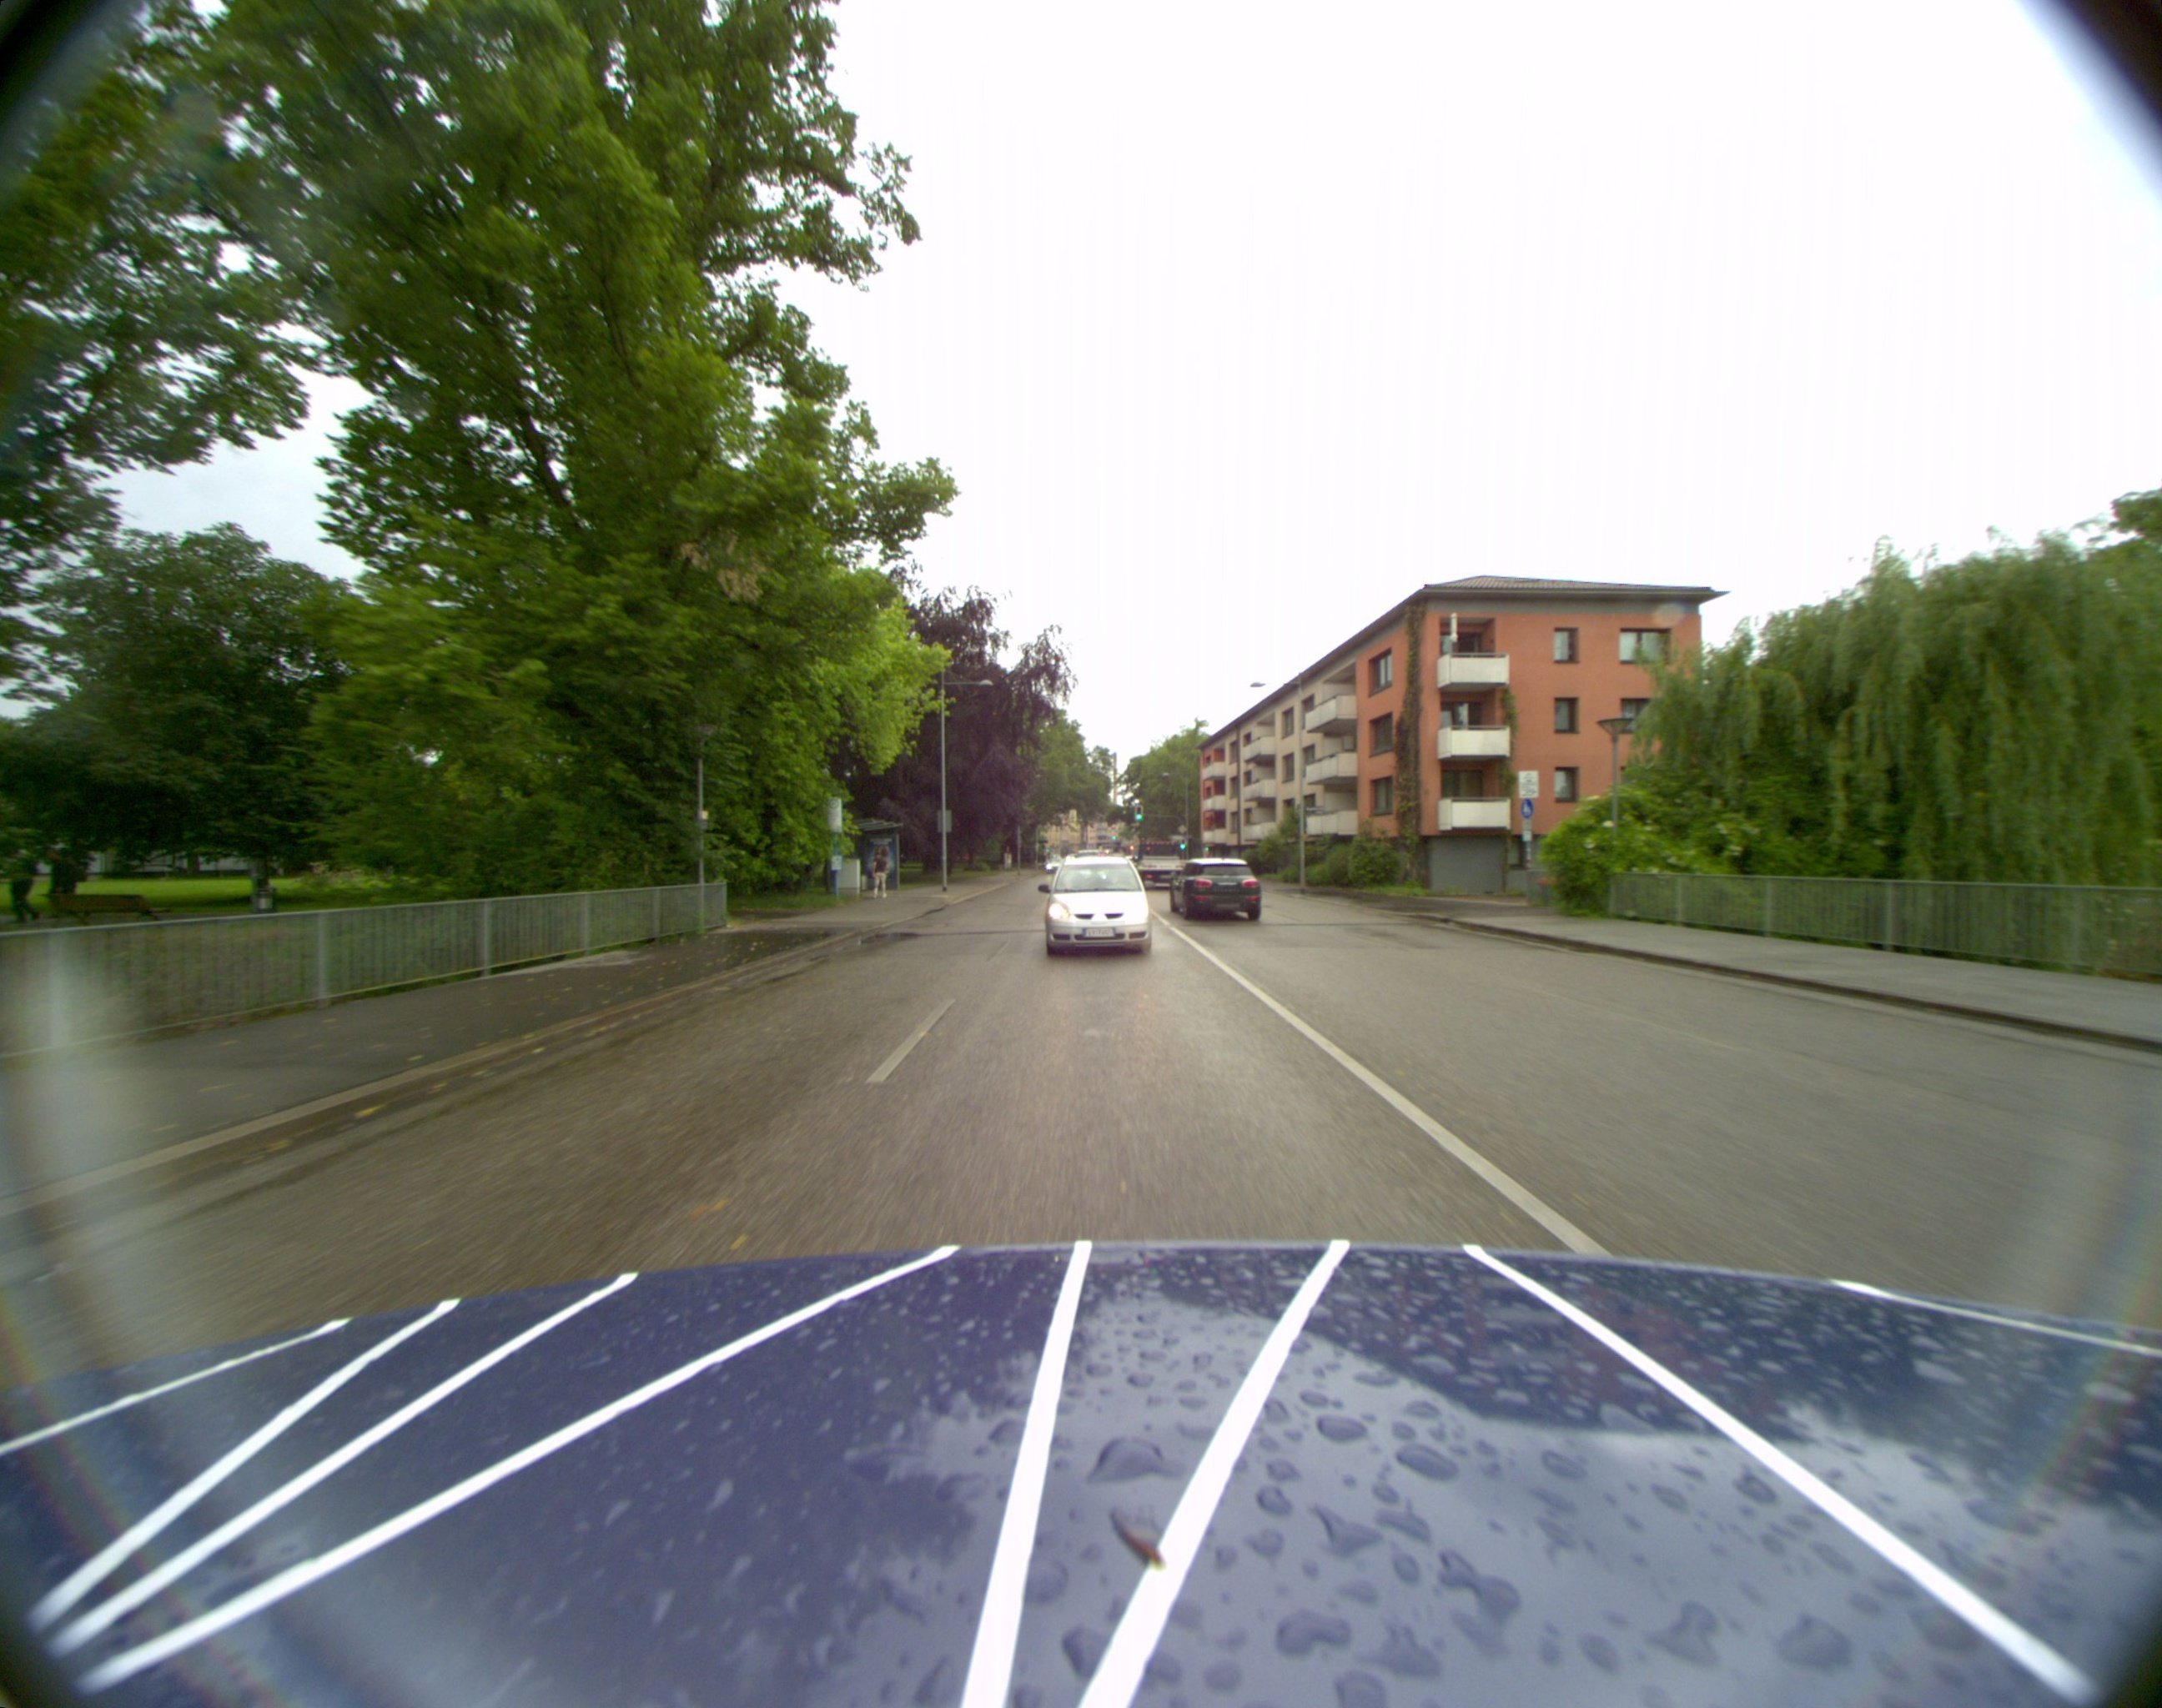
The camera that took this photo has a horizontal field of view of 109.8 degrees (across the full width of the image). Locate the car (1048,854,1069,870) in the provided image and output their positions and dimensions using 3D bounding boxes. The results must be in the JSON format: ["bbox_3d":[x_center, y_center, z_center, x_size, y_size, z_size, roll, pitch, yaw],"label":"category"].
[{"bbox_3d":[-2.273,0.771,77.397,1.906,1.538,3.999,0,1,1],"label":"car"}]

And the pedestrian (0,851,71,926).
[{"bbox_3d":[-25.105,0.797,18.051,1.060,1.742,0.781,-1,1,-5],"label":"pedestrian"}]

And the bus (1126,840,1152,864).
[{"bbox_3d":[7.654,-0.335,101.653,2.700,2.923,12.082,0,1,0],"label":"bus"}]

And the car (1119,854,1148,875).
[{"bbox_3d":[3.809,0.779,55.566,1.786,1.465,4.167,0,0,0],"label":"car"}]

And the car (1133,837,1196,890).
[{"bbox_3d":[3.900,0.427,36.705,2.295,2.295,6.509,0,0,0],"label":"car"}]

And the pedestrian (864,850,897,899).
[{"bbox_3d":[-7.076,0.723,26.862,0.850,1.666,1.167,1,1,0],"label":"pedestrian"}]

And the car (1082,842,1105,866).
[{"bbox_3d":[1.168,-0.018,70.903,2.037,2.119,3.999,0,1,1],"label":"car"}]

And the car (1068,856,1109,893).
[{"bbox_3d":[0.323,0.860,34.113,1.718,1.509,4.088,-1,0,0],"label":"car"}]

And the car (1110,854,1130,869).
[{"bbox_3d":[4.085,0.763,79.879,1.818,1.569,4.231,0,0,-1],"label":"car"}]

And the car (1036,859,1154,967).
[{"bbox_3d":[0.211,0.895,13.670,1.718,1.509,4.806,-1,0,0],"label":"car"}]

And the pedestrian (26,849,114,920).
[{"bbox_3d":[-25.452,0.743,19.151,1.060,1.742,0.781,-1,1,-5],"label":"pedestrian"}]

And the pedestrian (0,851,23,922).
[{"bbox_3d":[-27.108,0.807,18.658,1.060,1.742,0.781,-1,1,-5],"label":"pedestrian"}]

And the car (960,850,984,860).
[{"bbox_3d":[-18.560,0.198,129.591,3.998,1.706,1.999,0,0,-2],"label":"car"}]

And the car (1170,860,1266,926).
[{"bbox_3d":[3.333,0.899,19.186,1.750,1.431,4.000,0,0,1],"label":"car"}]

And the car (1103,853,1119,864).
[{"bbox_3d":[3.766,0.547,96.314,1.818,1.407,4.048,0,0,-1],"label":"car"}]
